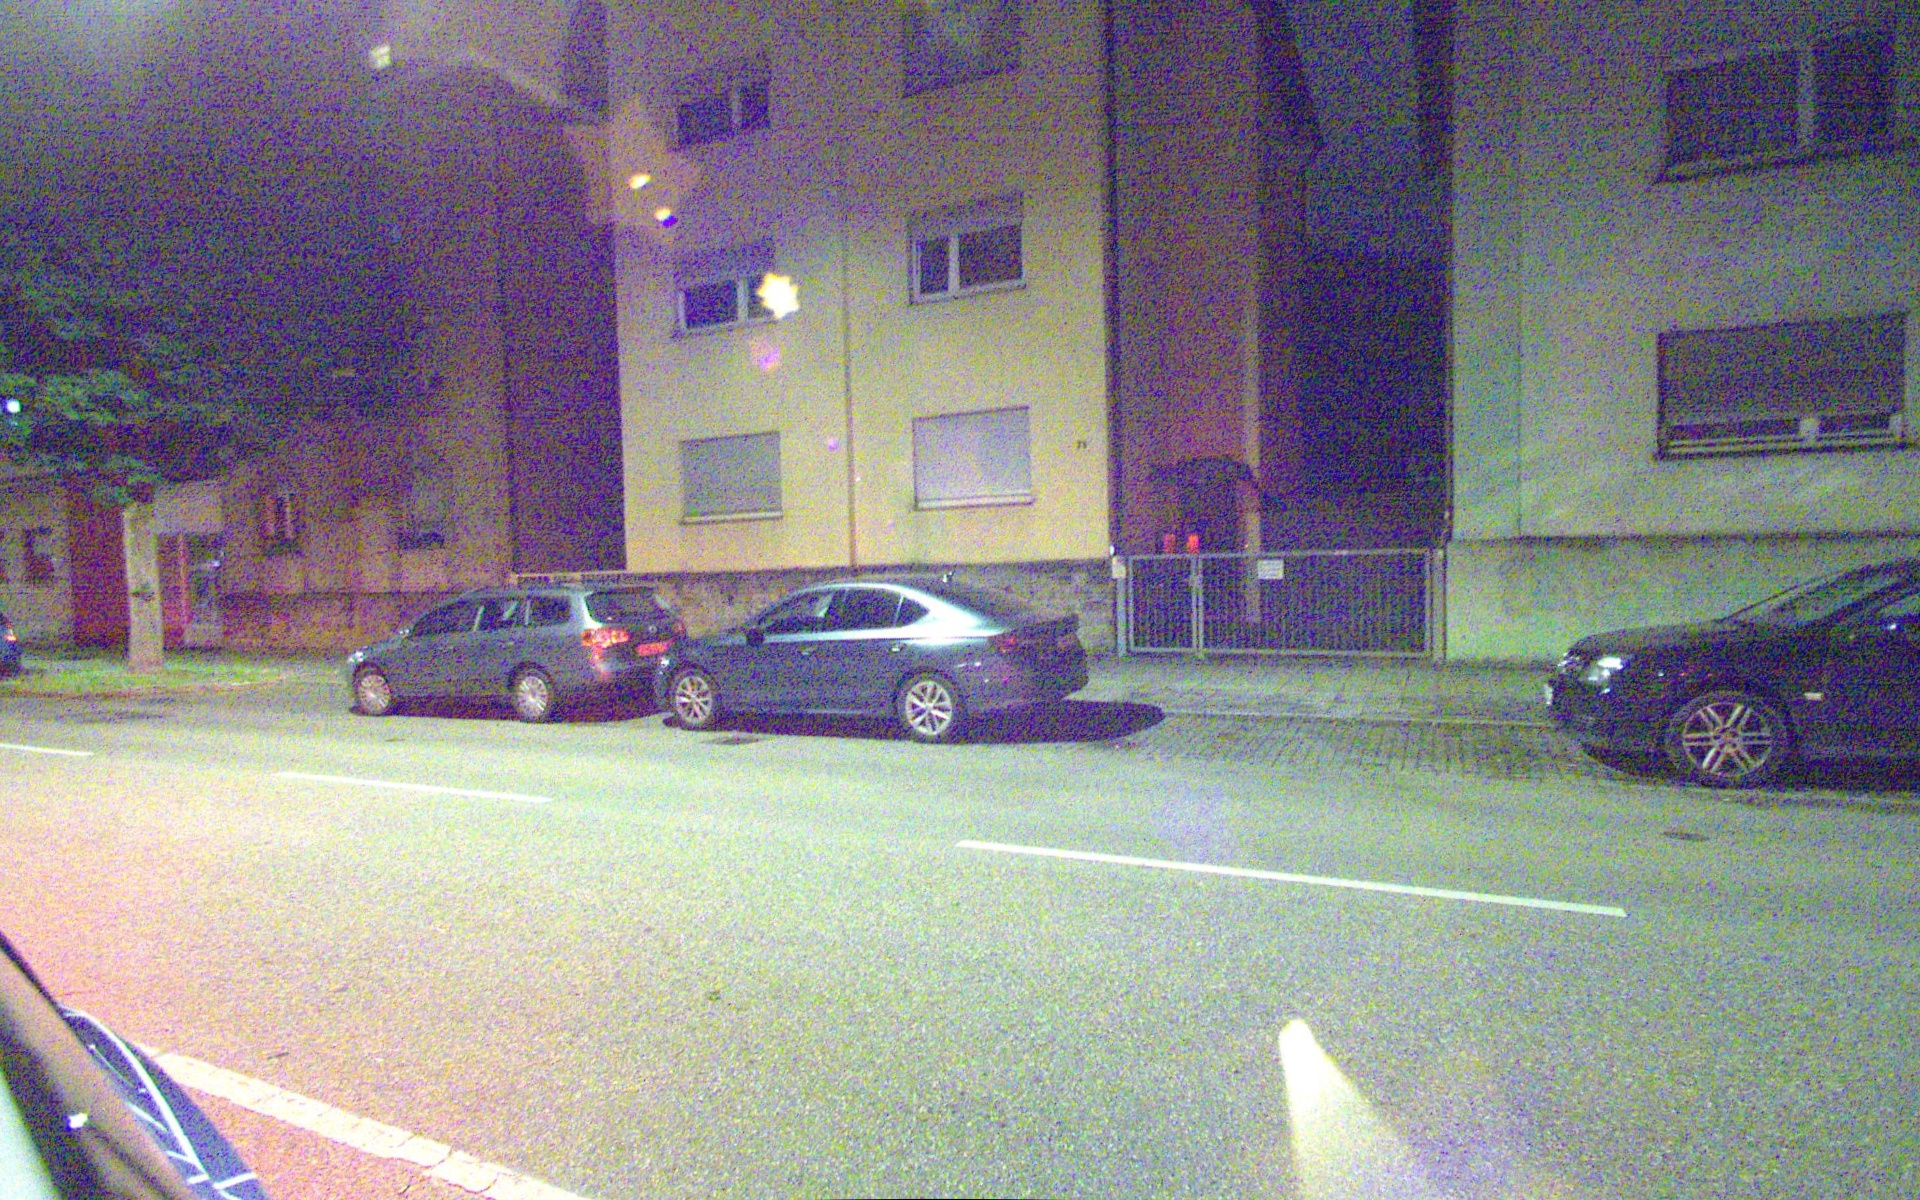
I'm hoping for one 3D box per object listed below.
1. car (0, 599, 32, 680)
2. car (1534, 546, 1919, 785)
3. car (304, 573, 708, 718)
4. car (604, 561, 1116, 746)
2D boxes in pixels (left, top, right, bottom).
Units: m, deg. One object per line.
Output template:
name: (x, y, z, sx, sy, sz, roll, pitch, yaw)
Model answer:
car: (-20.039, 0.800, 19.581, 3.968, 1.505, 1.705, -1, 2, 26)
car: (6.319, 0.357, 6.460, 4.424, 1.393, 1.615, -1, 1, 24)
car: (-5.517, 0.478, 12.208, 4.739, 1.497, 1.759, -1, 1, 25)
car: (-1.053, 0.447, 10.025, 4.837, 1.497, 1.759, -1, 1, 26)
